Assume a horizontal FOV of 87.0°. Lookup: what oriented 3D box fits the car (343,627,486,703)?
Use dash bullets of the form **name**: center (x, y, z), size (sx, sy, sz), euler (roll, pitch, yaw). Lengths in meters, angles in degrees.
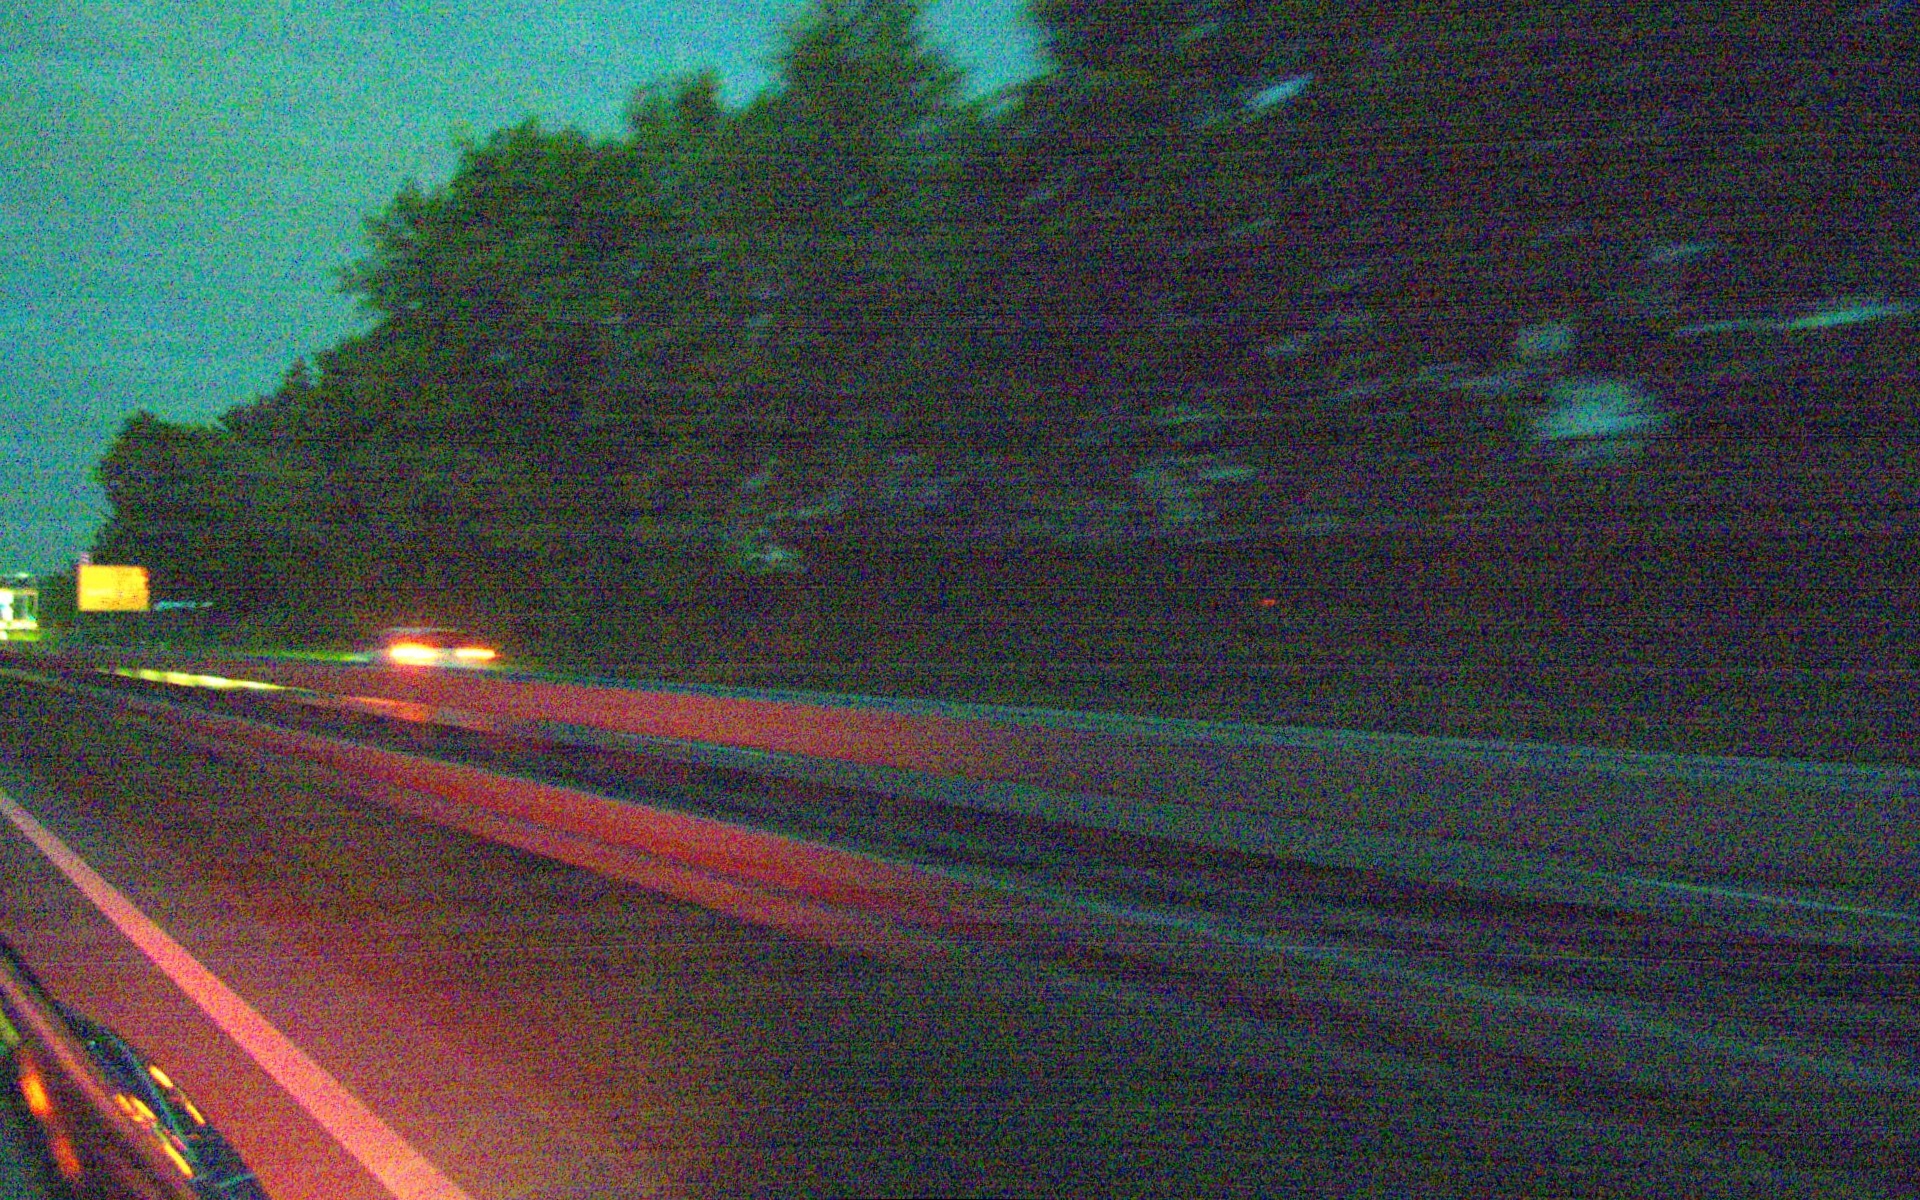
- **car**: center (-12.424, 1.401, 22.972), size (3.867, 1.518, 1.601), euler (-1, 0, 41)
